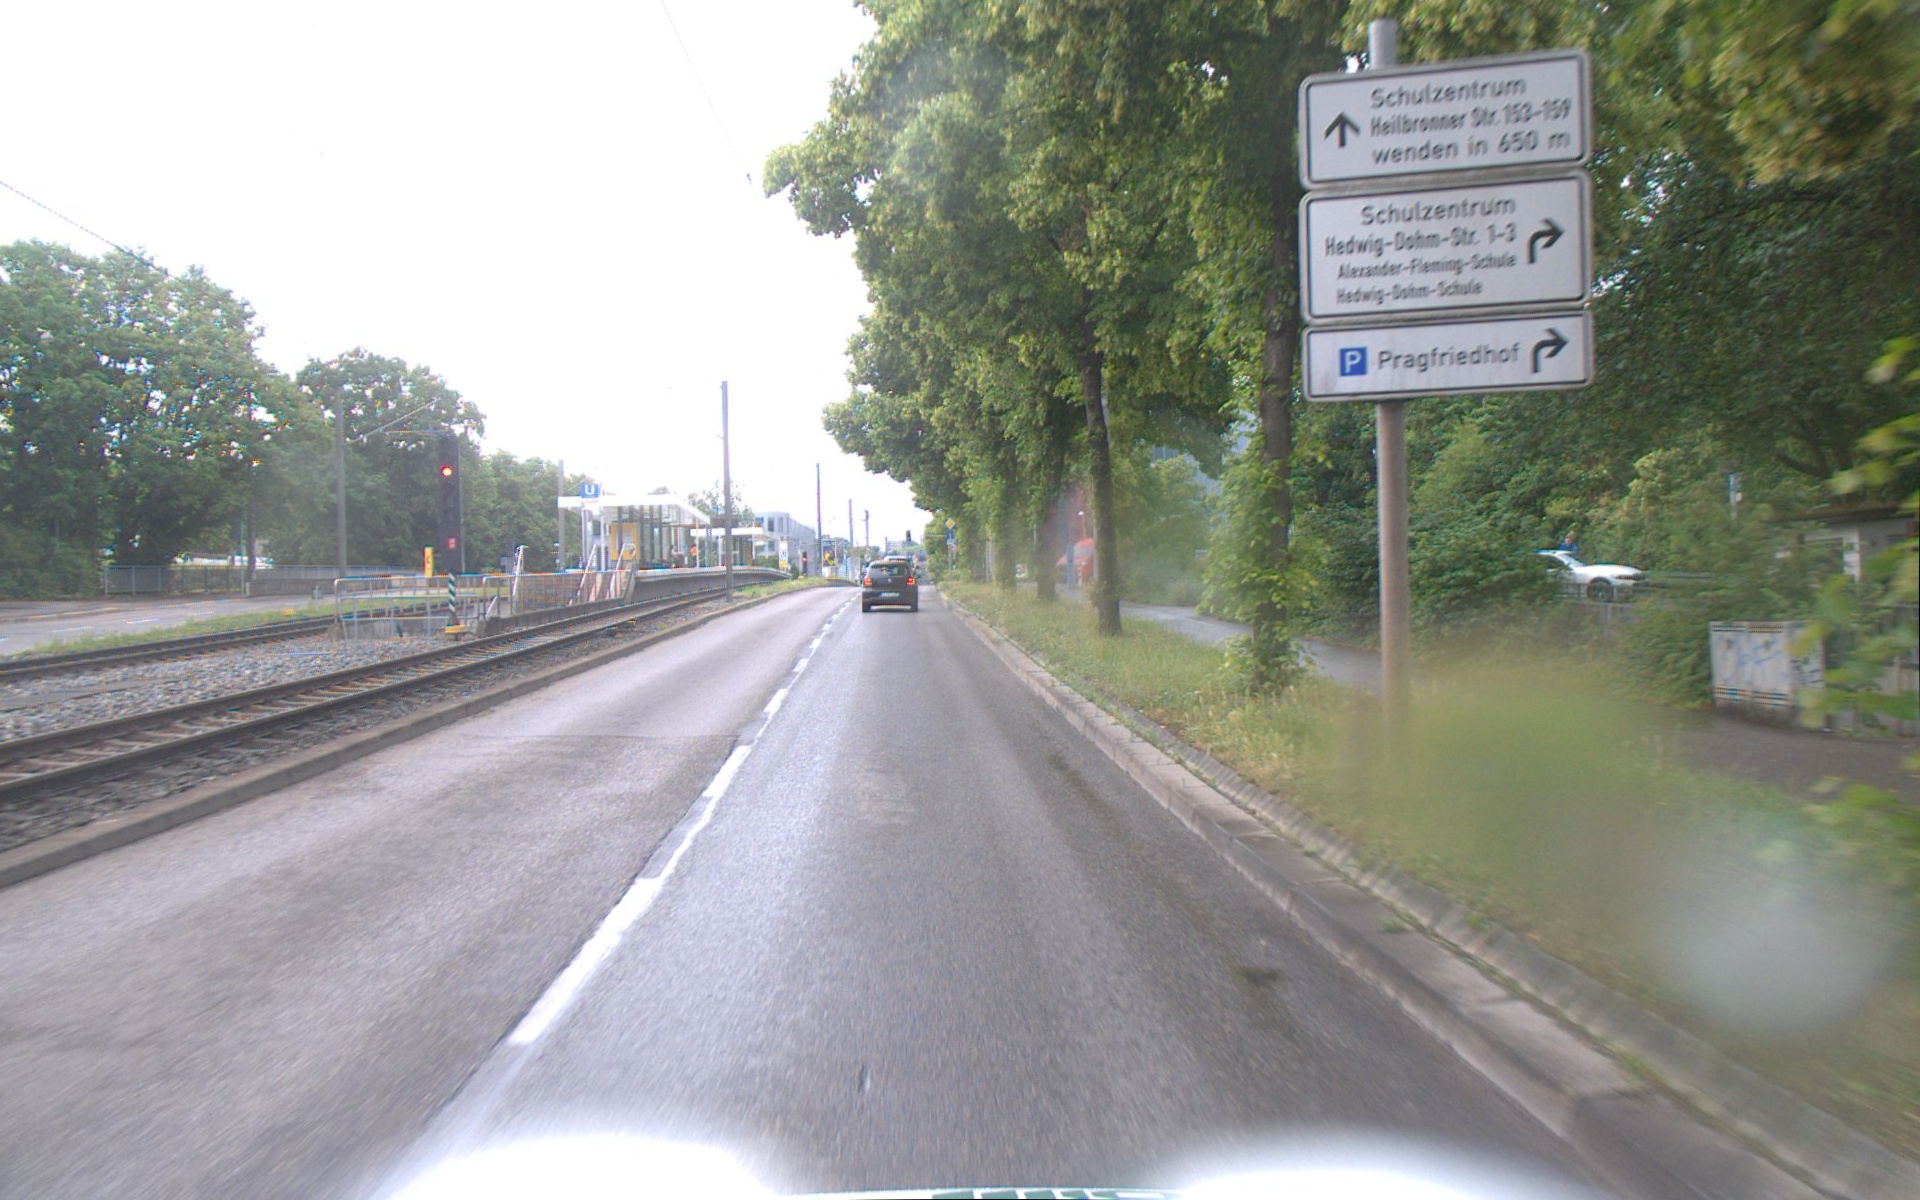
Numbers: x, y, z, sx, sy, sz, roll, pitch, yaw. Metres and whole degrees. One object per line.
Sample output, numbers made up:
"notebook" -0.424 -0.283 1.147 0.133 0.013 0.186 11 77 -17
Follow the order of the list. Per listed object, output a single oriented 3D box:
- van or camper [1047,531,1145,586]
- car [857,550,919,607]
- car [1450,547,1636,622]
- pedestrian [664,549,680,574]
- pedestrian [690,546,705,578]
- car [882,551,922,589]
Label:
"van or camper" 6.843 -2.060 82.749 2.005 2.447 5.361 4 1 40
"car" -2.076 -0.656 48.471 1.692 1.567 3.999 -1 2 -2
"car" 15.848 -0.454 45.132 1.930 1.866 4.400 0 2 -42
"pedestrian" -14.577 -1.927 83.668 0.696 1.247 0.619 -1 1 -2
"pedestrian" -16.178 -2.337 101.971 0.733 1.942 0.836 0 2 -22
"car" -2.483 -1.299 71.017 1.653 1.544 3.999 -1 2 -2
